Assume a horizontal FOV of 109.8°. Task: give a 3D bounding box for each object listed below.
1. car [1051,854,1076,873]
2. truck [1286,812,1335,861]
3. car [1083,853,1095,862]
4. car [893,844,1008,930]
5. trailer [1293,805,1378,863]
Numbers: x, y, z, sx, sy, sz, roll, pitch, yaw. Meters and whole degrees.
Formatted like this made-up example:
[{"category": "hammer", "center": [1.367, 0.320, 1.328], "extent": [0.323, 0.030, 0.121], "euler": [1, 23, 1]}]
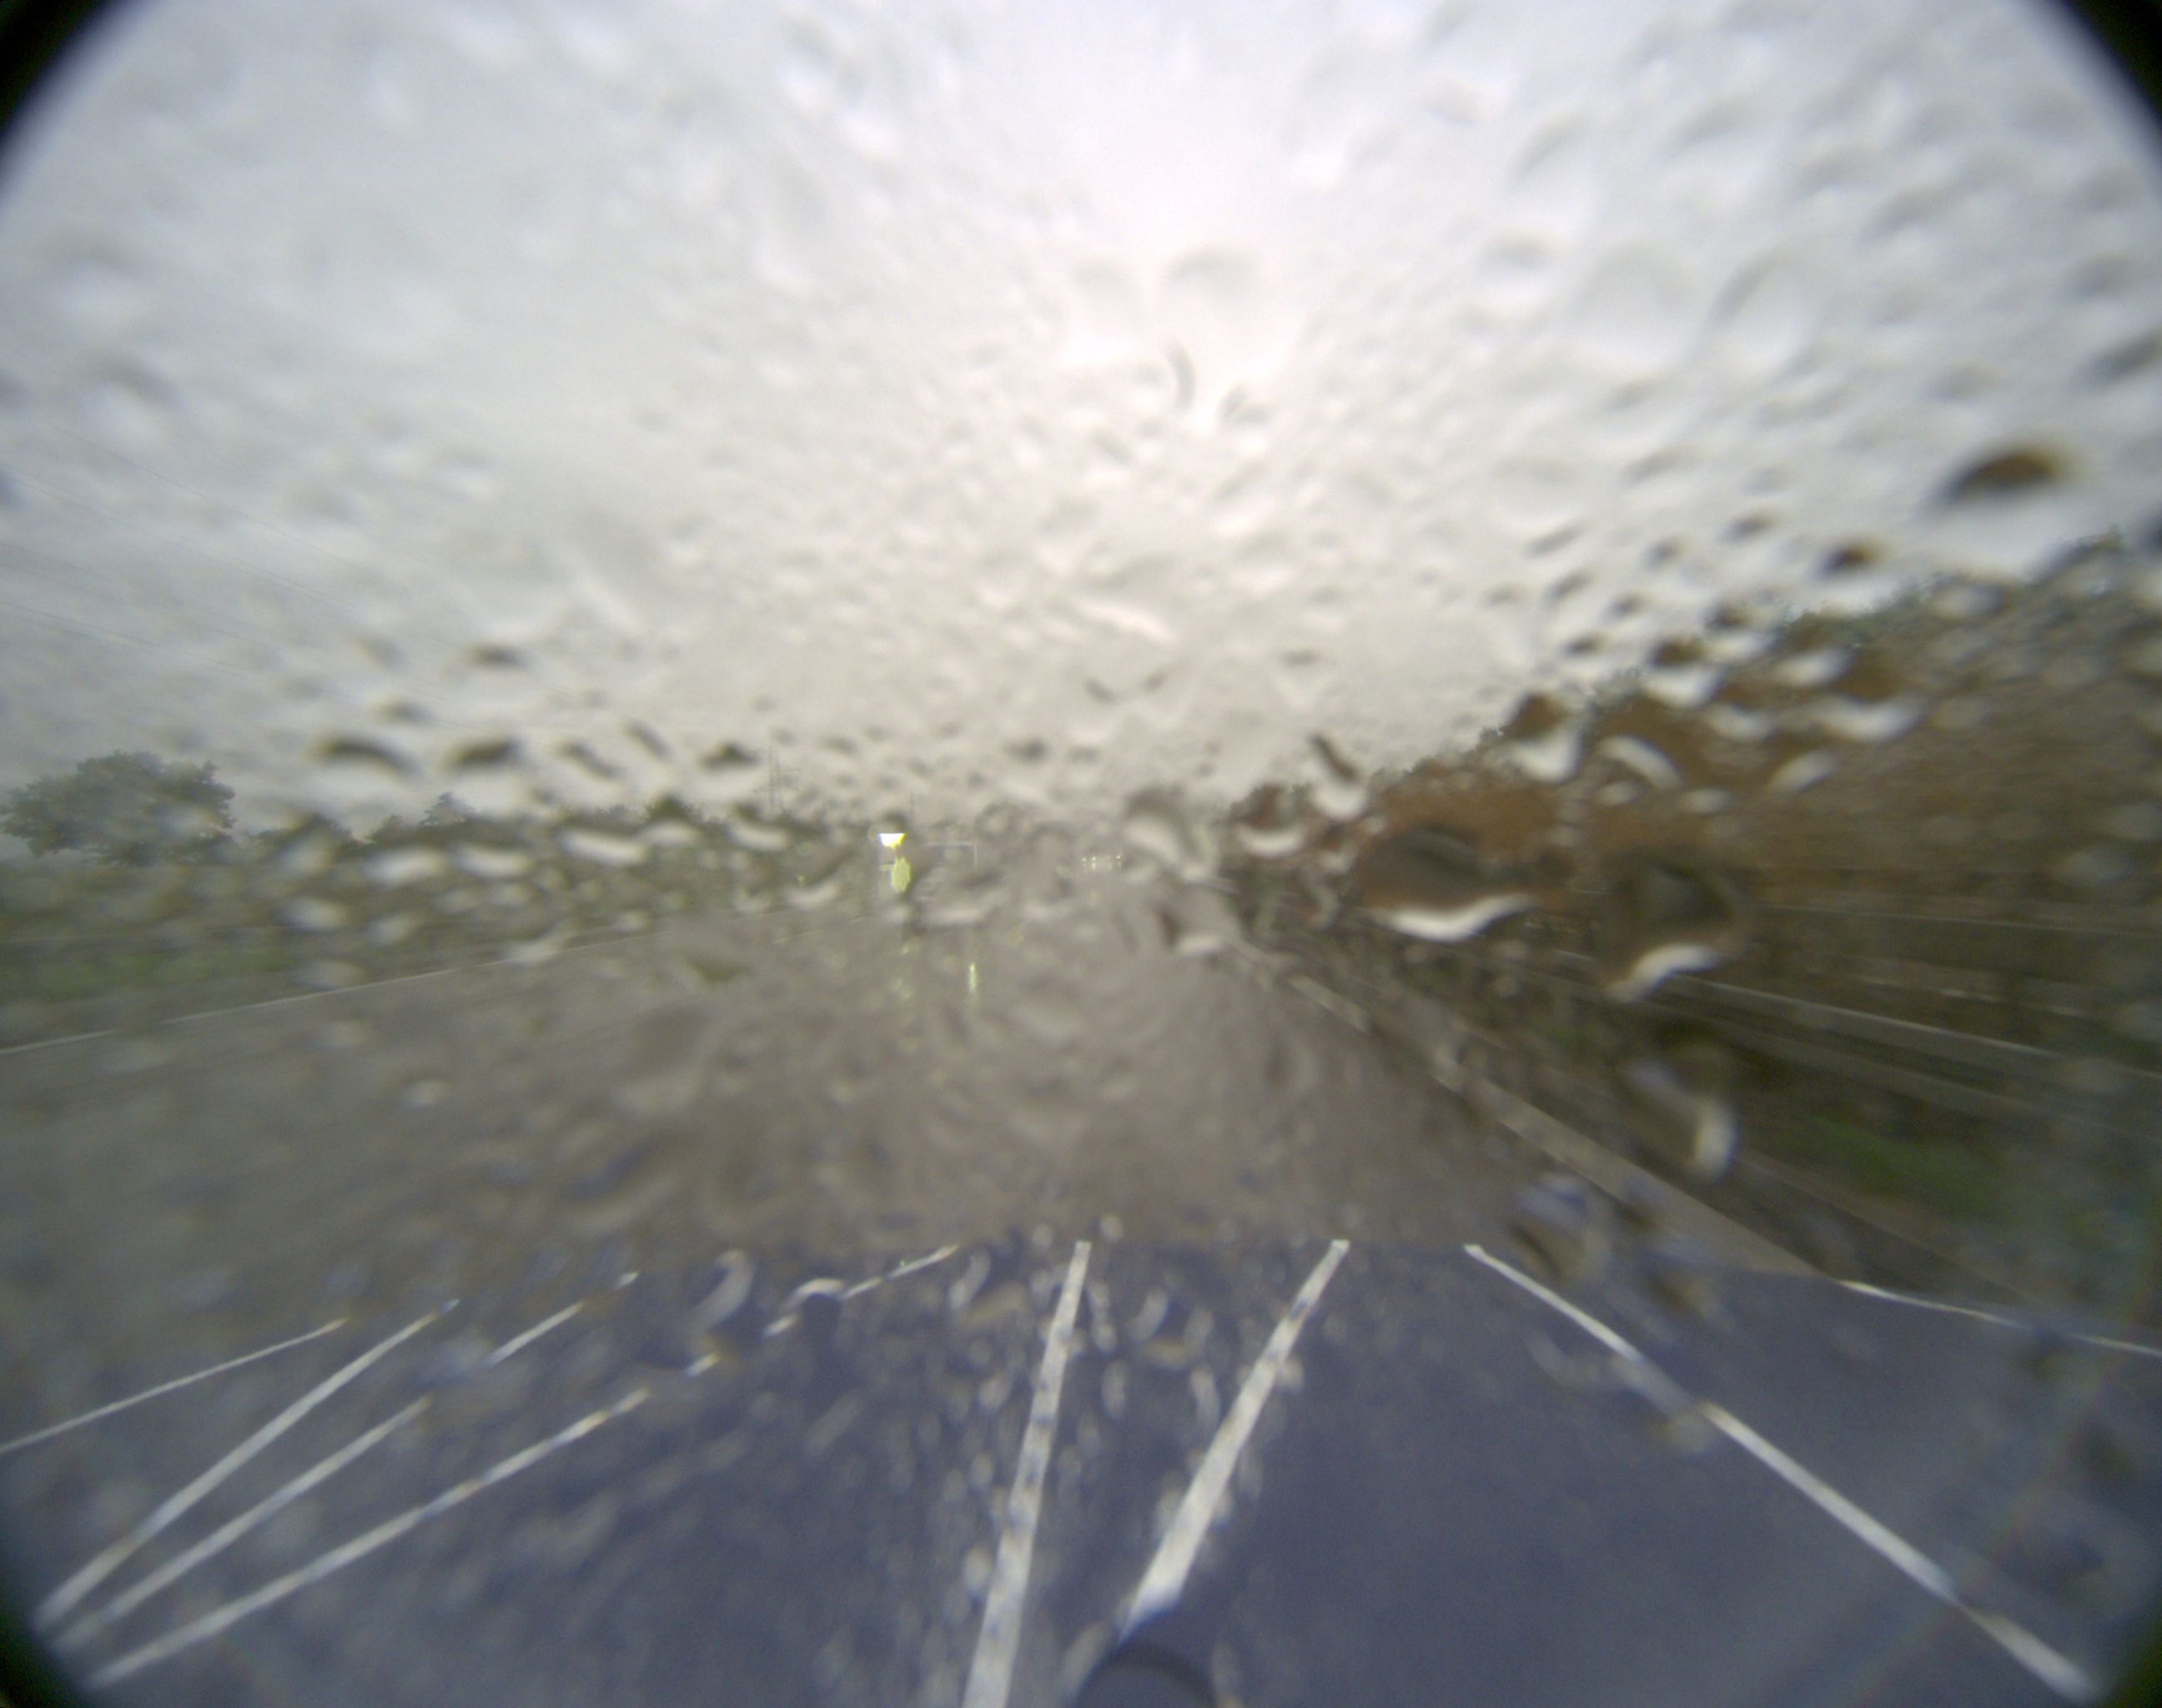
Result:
[{"category": "car", "center": [-1.516, 0.834, 66.378], "extent": [1.769, 1.448, 3.960], "euler": [-4, 0, 4]}, {"category": "truck", "center": [18.960, -1.442, 63.118], "extent": [2.590, 3.809, 4.975], "euler": [-2, 1, 2]}, {"category": "car", "center": [1.379, 0.605, 131.502], "extent": [1.769, 1.448, 3.960], "euler": [-4, 0, 4]}, {"category": "car", "center": [-3.277, 0.752, 20.172], "extent": [1.892, 1.873, 5.009], "euler": [-4, 0, 2]}, {"category": "trailer", "center": [18.762, -1.405, 57.071], "extent": [2.605, 3.809, 12.212], "euler": [-2, 0, 2]}]
